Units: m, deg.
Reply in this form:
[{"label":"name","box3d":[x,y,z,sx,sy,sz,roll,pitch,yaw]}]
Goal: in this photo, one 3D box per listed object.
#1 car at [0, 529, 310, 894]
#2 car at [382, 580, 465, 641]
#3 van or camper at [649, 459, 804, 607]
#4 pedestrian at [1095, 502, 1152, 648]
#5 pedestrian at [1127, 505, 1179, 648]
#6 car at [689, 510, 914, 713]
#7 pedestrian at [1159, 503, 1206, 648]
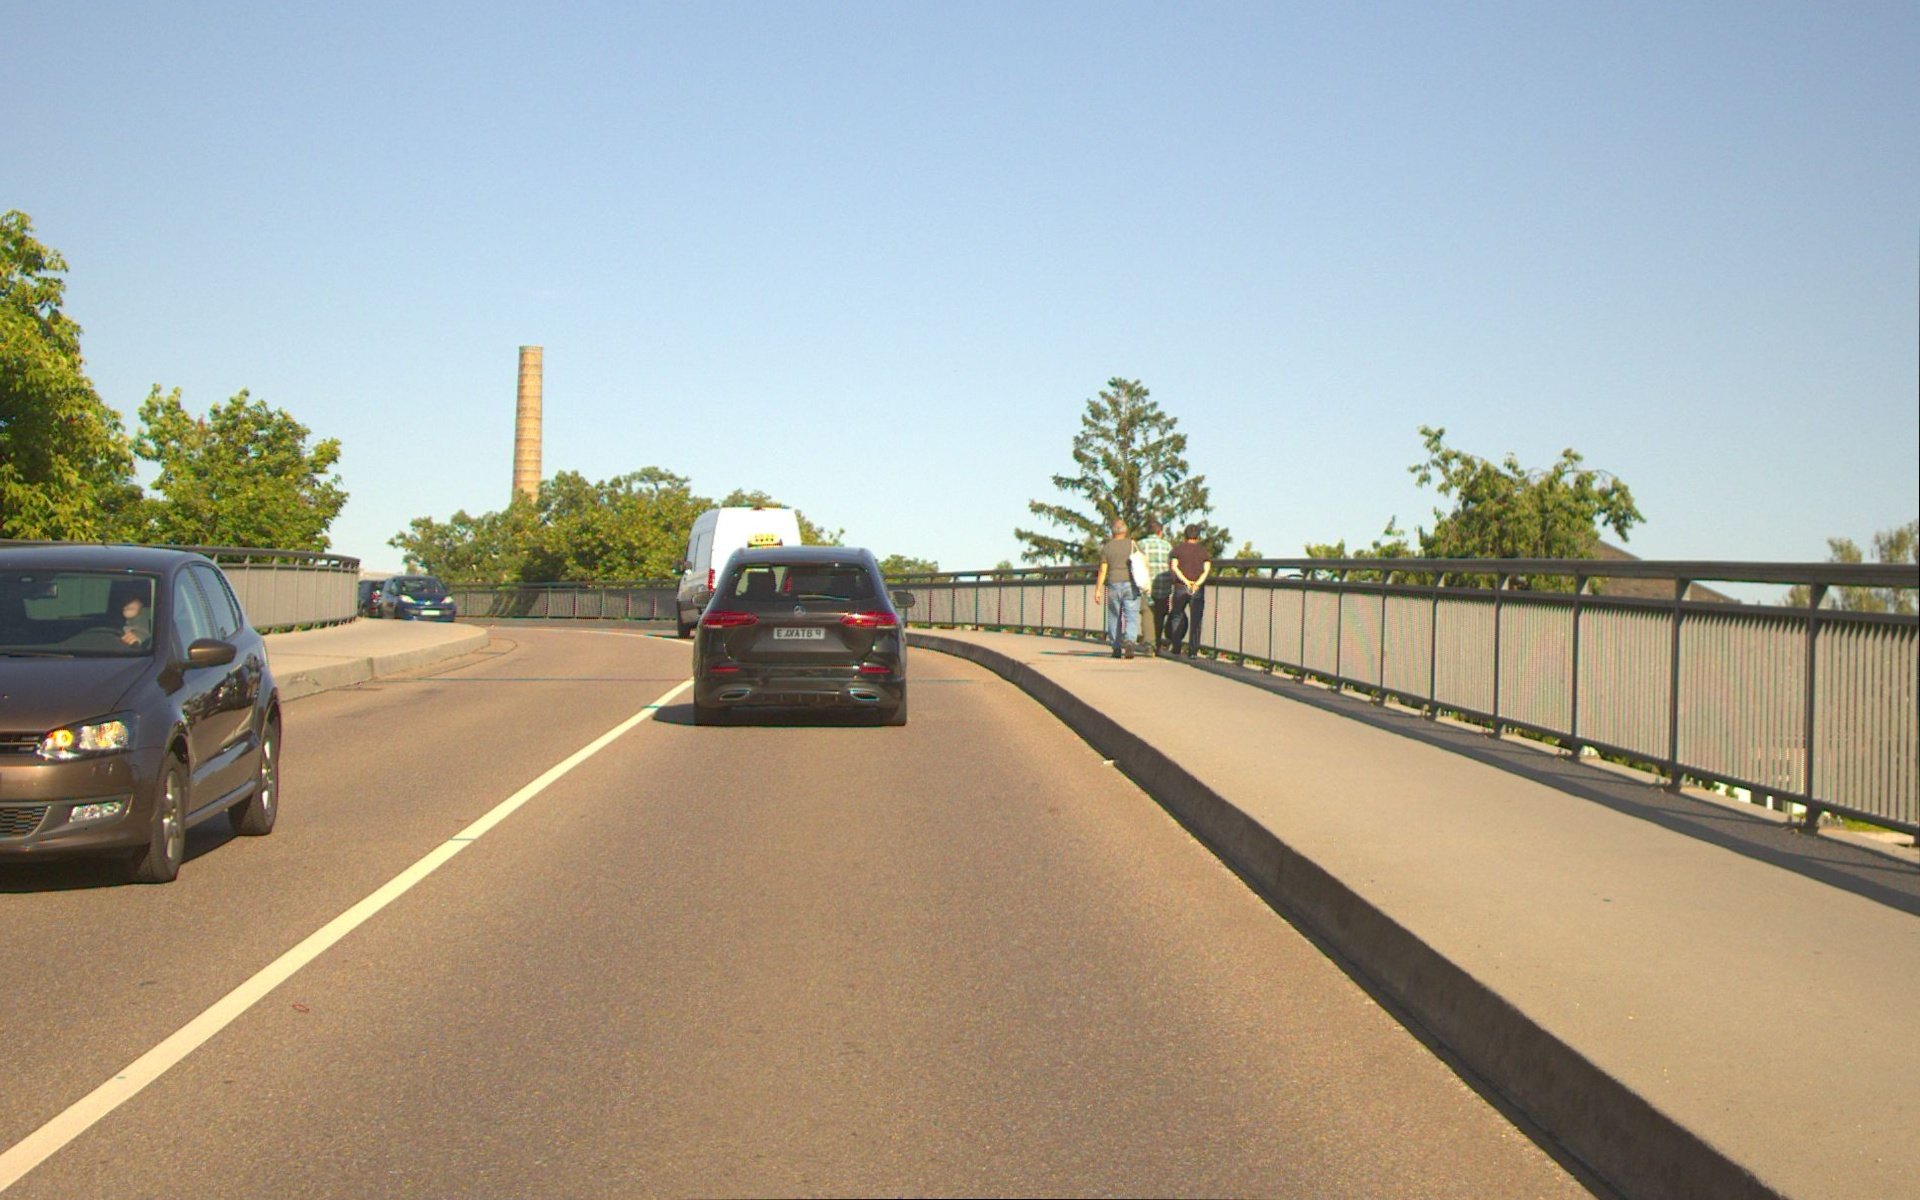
[{"label":"car","box3d":[-4.203,0.430,15.841,1.769,1.469,3.989,0,1,-2]},{"label":"car","box3d":[-14.935,0.273,95.858,1.769,1.587,3.989,2,1,-2]},{"label":"van or camper","box3d":[-4.926,-1.320,71.537,2.225,2.730,7.081,2,-1,-11]},{"label":"pedestrian","box3d":[1.994,-0.295,42.048,0.602,1.744,0.717,2,-2,-1]},{"label":"pedestrian","box3d":[2.407,-0.287,42.902,0.549,1.744,0.738,2,-2,-1]},{"label":"car","box3d":[-1.445,0.071,29.939,1.769,1.587,3.990,2,1,-5]},{"label":"pedestrian","box3d":[2.728,-0.296,42.192,0.471,1.744,0.654,2,-2,-1]}]
